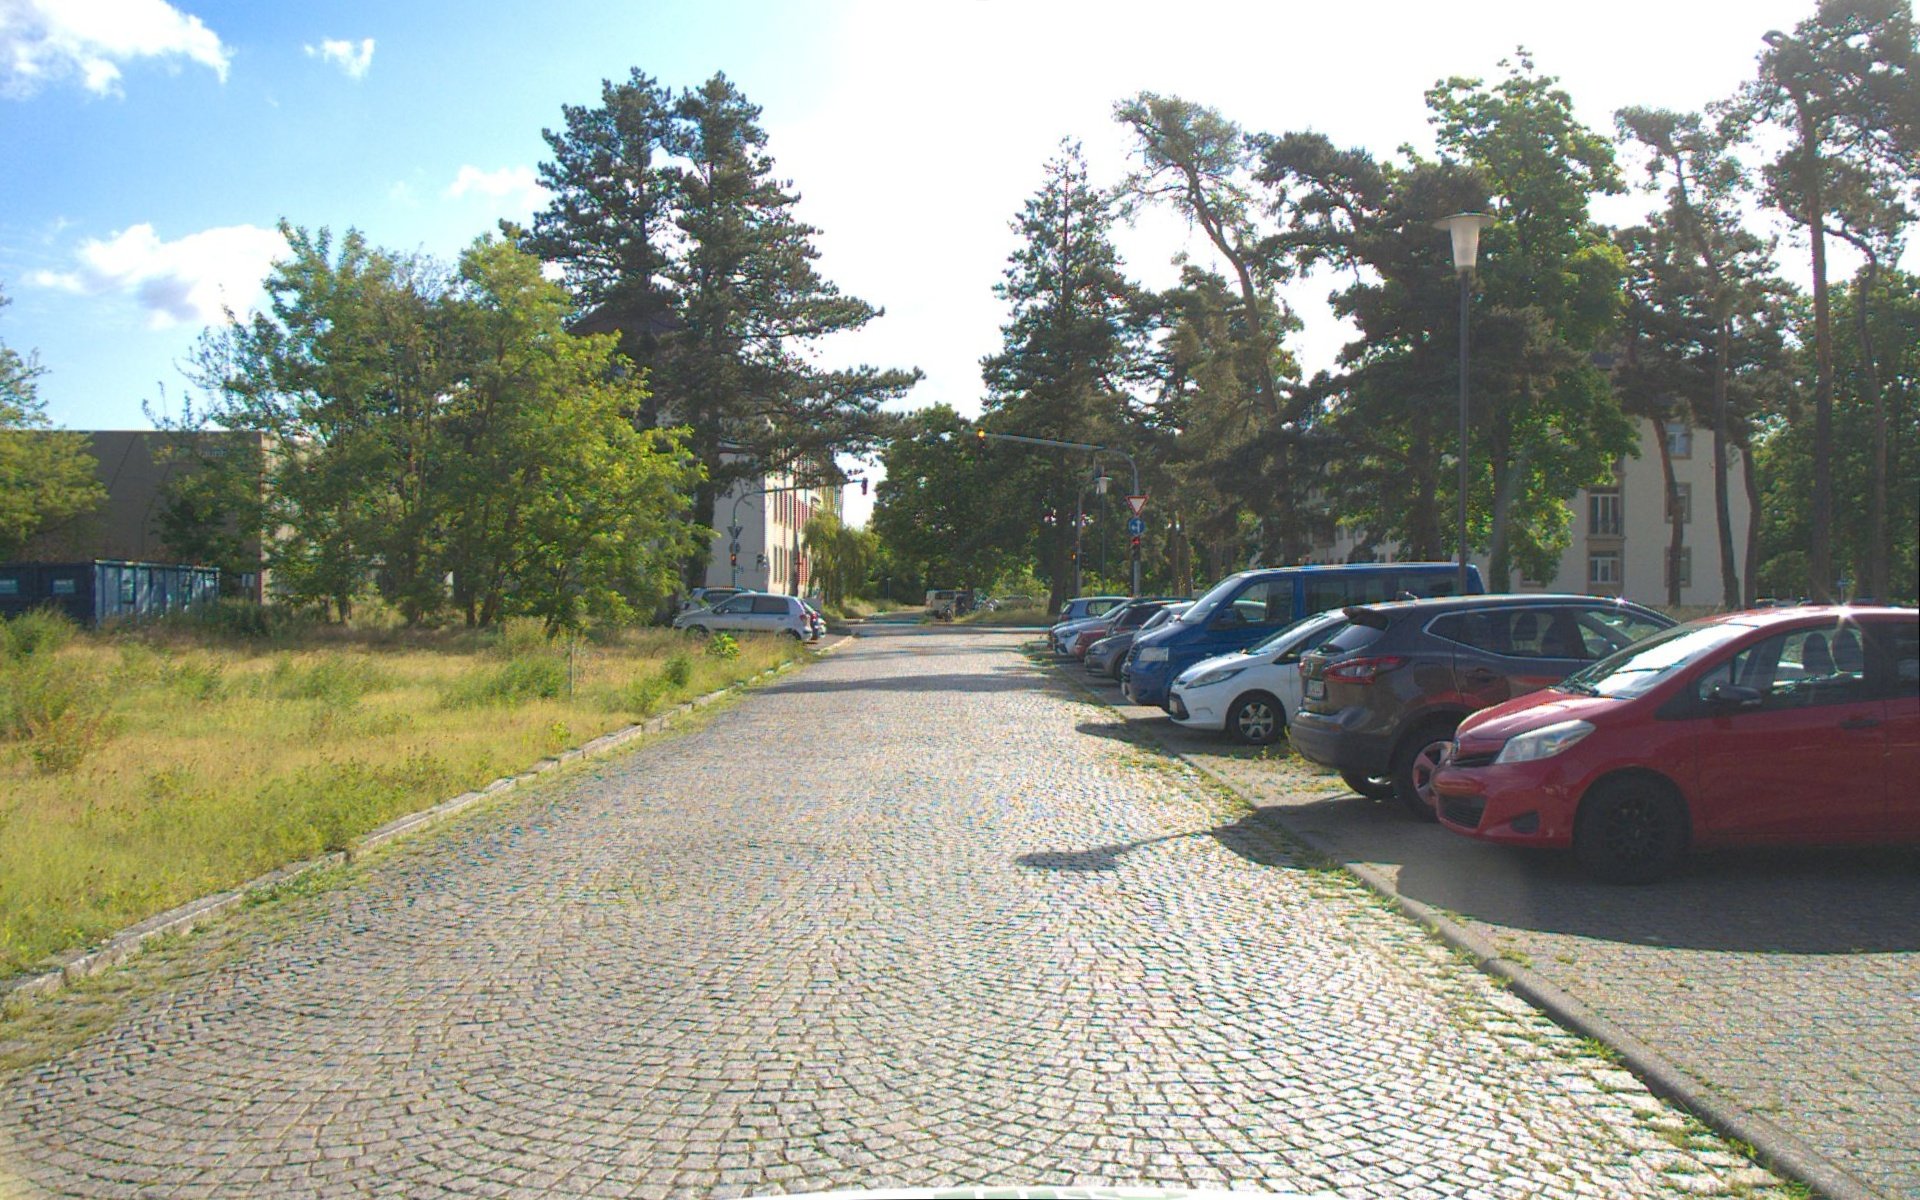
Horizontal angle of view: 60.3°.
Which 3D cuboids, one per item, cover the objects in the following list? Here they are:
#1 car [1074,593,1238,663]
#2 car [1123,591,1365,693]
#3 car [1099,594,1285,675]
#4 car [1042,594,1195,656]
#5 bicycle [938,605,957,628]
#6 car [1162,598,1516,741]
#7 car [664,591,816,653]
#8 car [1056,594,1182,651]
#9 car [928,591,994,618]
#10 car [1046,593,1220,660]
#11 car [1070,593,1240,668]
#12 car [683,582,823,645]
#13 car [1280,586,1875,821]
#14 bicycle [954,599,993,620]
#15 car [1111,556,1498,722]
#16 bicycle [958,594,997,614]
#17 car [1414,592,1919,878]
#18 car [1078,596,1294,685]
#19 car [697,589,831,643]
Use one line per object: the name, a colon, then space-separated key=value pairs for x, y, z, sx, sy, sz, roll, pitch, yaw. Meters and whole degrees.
car: x=4.437 y=0.630 z=37.765 sx=3.530 sy=1.556 sz=1.645 roll=0 pitch=0 yaw=-2
car: x=4.540 y=0.661 z=26.808 sx=3.618 sy=1.491 sz=1.645 roll=-2 pitch=0 yaw=0
car: x=4.529 y=0.654 z=32.614 sx=3.408 sy=1.556 sz=1.645 roll=0 pitch=0 yaw=-2
car: x=4.055 y=0.632 z=42.611 sx=3.758 sy=1.556 sz=1.645 roll=0 pitch=0 yaw=-2
bicycle: x=-0.681 y=0.915 z=90.722 sx=0.789 sy=1.190 sz=2.177 roll=-2 pitch=0 yaw=-6
car: x=4.265 y=0.755 z=18.948 sx=3.645 sy=1.514 sz=1.644 roll=-1 pitch=0 yaw=-3
car: x=-5.849 y=0.562 z=44.350 sx=3.908 sy=1.628 sz=1.999 roll=0 pitch=0 yaw=-3
car: x=4.324 y=0.598 z=45.254 sx=3.276 sy=1.508 sz=1.645 roll=0 pitch=0 yaw=-2
car: x=0.082 y=0.274 z=111.665 sx=4.389 sy=1.758 sz=2.000 roll=1 pitch=0 yaw=-1
car: x=4.135 y=0.621 z=39.840 sx=3.955 sy=1.556 sz=1.644 roll=0 pitch=0 yaw=-4
car: x=4.127 y=0.640 z=35.301 sx=3.408 sy=1.556 sz=1.645 roll=0 pitch=0 yaw=-2
car: x=-6.180 y=0.393 z=49.735 sx=3.907 sy=1.629 sz=2.000 roll=4 pitch=0 yaw=-1
car: x=4.534 y=0.720 z=12.533 sx=3.856 sy=1.650 sz=1.771 roll=0 pitch=0 yaw=-2
bicycle: x=0.756 y=0.534 z=94.202 sx=2.134 sy=1.119 sz=0.805 roll=1 pitch=0 yaw=-11
car: x=4.402 y=0.480 z=21.629 sx=4.584 sy=2.049 sz=2.082 roll=0 pitch=0 yaw=-4
bicycle: x=0.986 y=0.238 z=95.509 sx=2.134 sy=1.119 sz=0.805 roll=1 pitch=0 yaw=-11
car: x=4.777 y=0.735 z=9.870 sx=3.686 sy=1.557 sz=1.645 roll=0 pitch=0 yaw=-1
car: x=4.003 y=0.697 z=29.688 sx=3.601 sy=1.493 sz=1.645 roll=-1 pitch=0 yaw=-2
car: x=-6.137 y=0.487 z=52.137 sx=3.906 sy=1.478 sz=2.000 roll=3 pitch=0 yaw=-1
